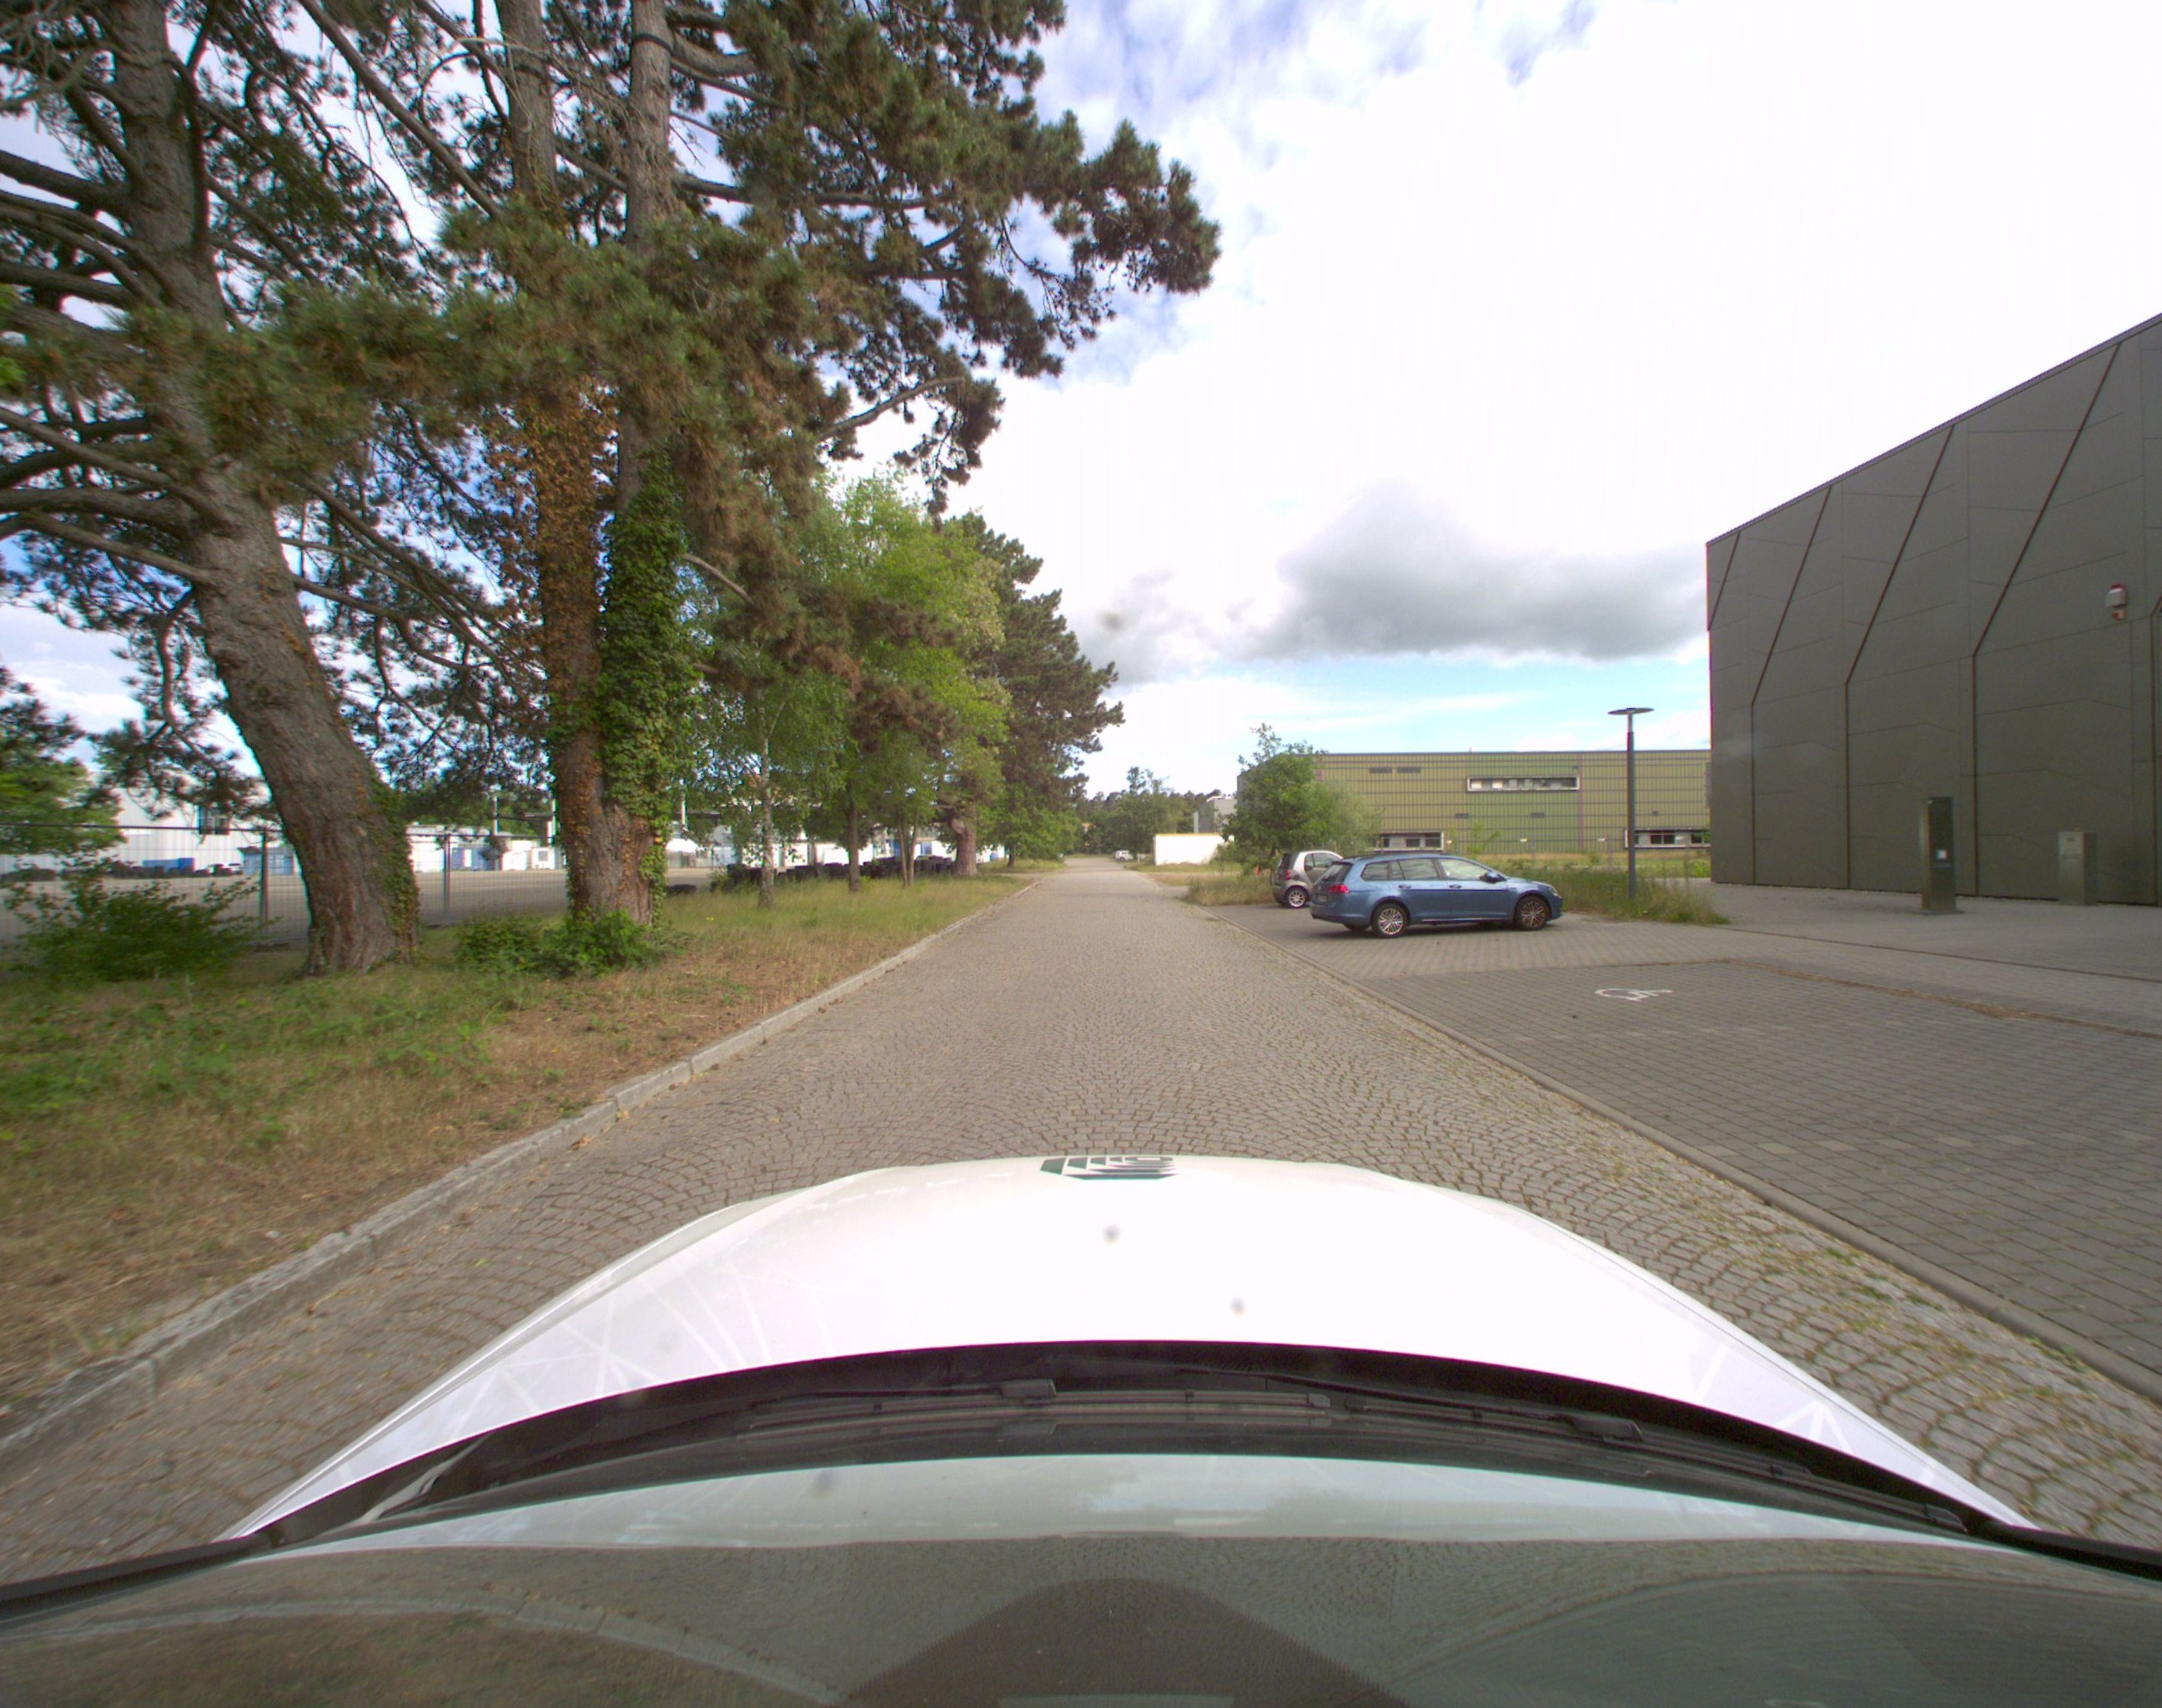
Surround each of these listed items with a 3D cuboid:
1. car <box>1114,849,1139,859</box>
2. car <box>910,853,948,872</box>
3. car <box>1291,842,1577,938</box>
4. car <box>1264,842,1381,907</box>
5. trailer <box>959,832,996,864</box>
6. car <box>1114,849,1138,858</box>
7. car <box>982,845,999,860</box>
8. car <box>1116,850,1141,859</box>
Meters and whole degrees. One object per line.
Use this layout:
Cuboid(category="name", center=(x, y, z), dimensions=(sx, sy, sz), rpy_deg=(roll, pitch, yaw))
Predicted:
Cuboid(category="car", center=(7.334, -0.033, 132.137), dimensions=(3.973, 1.455, 1.697), rpy_deg=(-1, 0, 0))
Cuboid(category="car", center=(-11.981, 0.621, 64.406), dimensions=(1.814, 1.431, 4.227), rpy_deg=(-1, 0, 7))
Cuboid(category="car", center=(6.492, 0.628, 15.334), dimensions=(4.512, 1.450, 1.931), rpy_deg=(-3, 0, -2))
Cuboid(category="car", center=(6.647, 0.539, 22.623), dimensions=(2.732, 1.582, 1.683), rpy_deg=(-3, 0, 0))
Cuboid(category="trailer", center=(-12.959, -0.762, 102.676), dimensions=(2.645, 3.705, 10.730), rpy_deg=(-1, 0, 3))
Cuboid(category="car", center=(7.428, -0.102, 135.177), dimensions=(3.973, 1.455, 1.770), rpy_deg=(-1, 0, 0))
Cuboid(category="car", center=(-15.822, -0.283, 142.371), dimensions=(1.985, 2.523, 5.624), rpy_deg=(-1, 0, 4))
Cuboid(category="car", center=(7.602, 0.040, 129.967), dimensions=(3.973, 1.455, 2.000), rpy_deg=(0, -1, 0))
